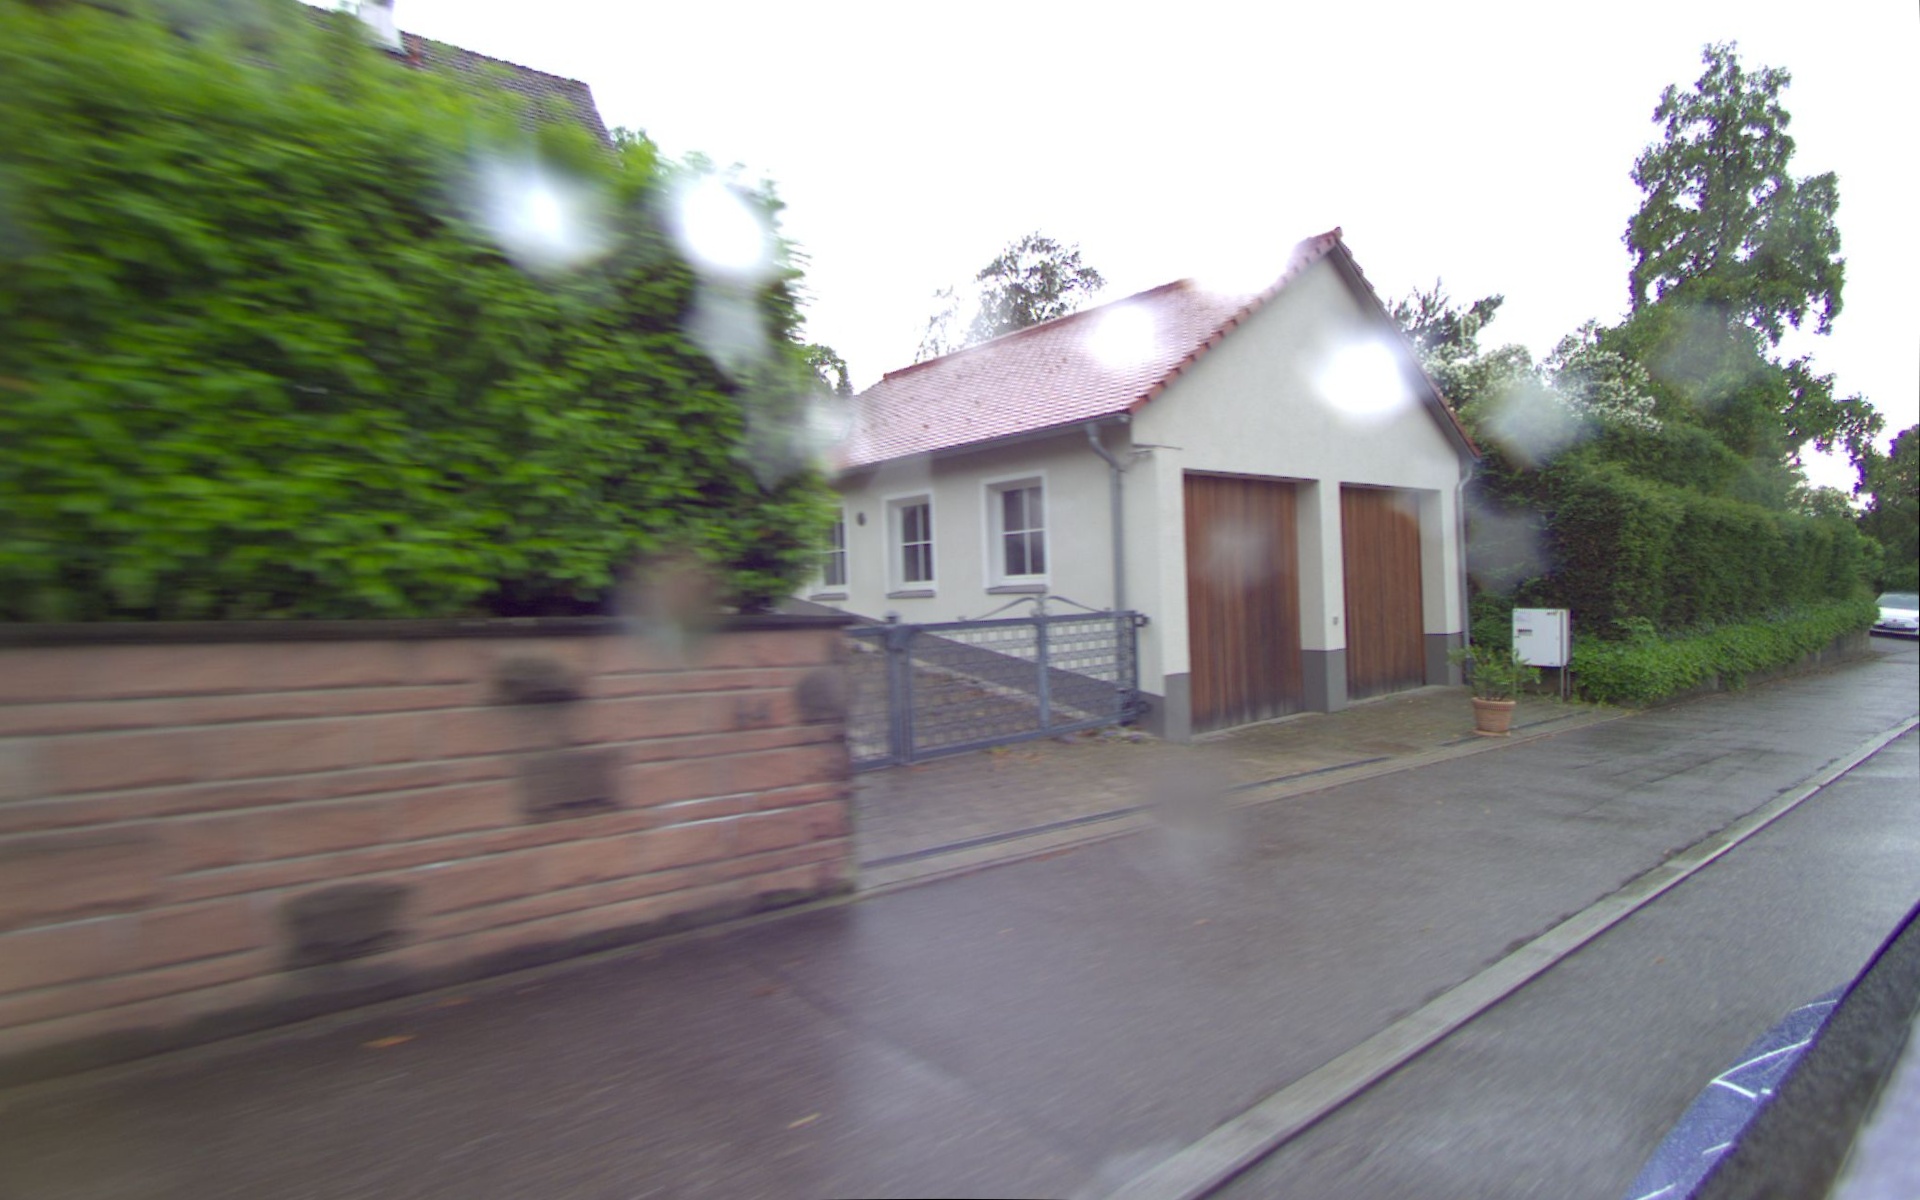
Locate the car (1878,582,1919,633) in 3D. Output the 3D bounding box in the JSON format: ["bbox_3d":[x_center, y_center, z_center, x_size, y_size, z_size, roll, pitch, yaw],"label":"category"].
[{"bbox_3d":[31.673,0.257,33.352,3.776,1.554,1.535,0,2,-40],"label":"car"}]
